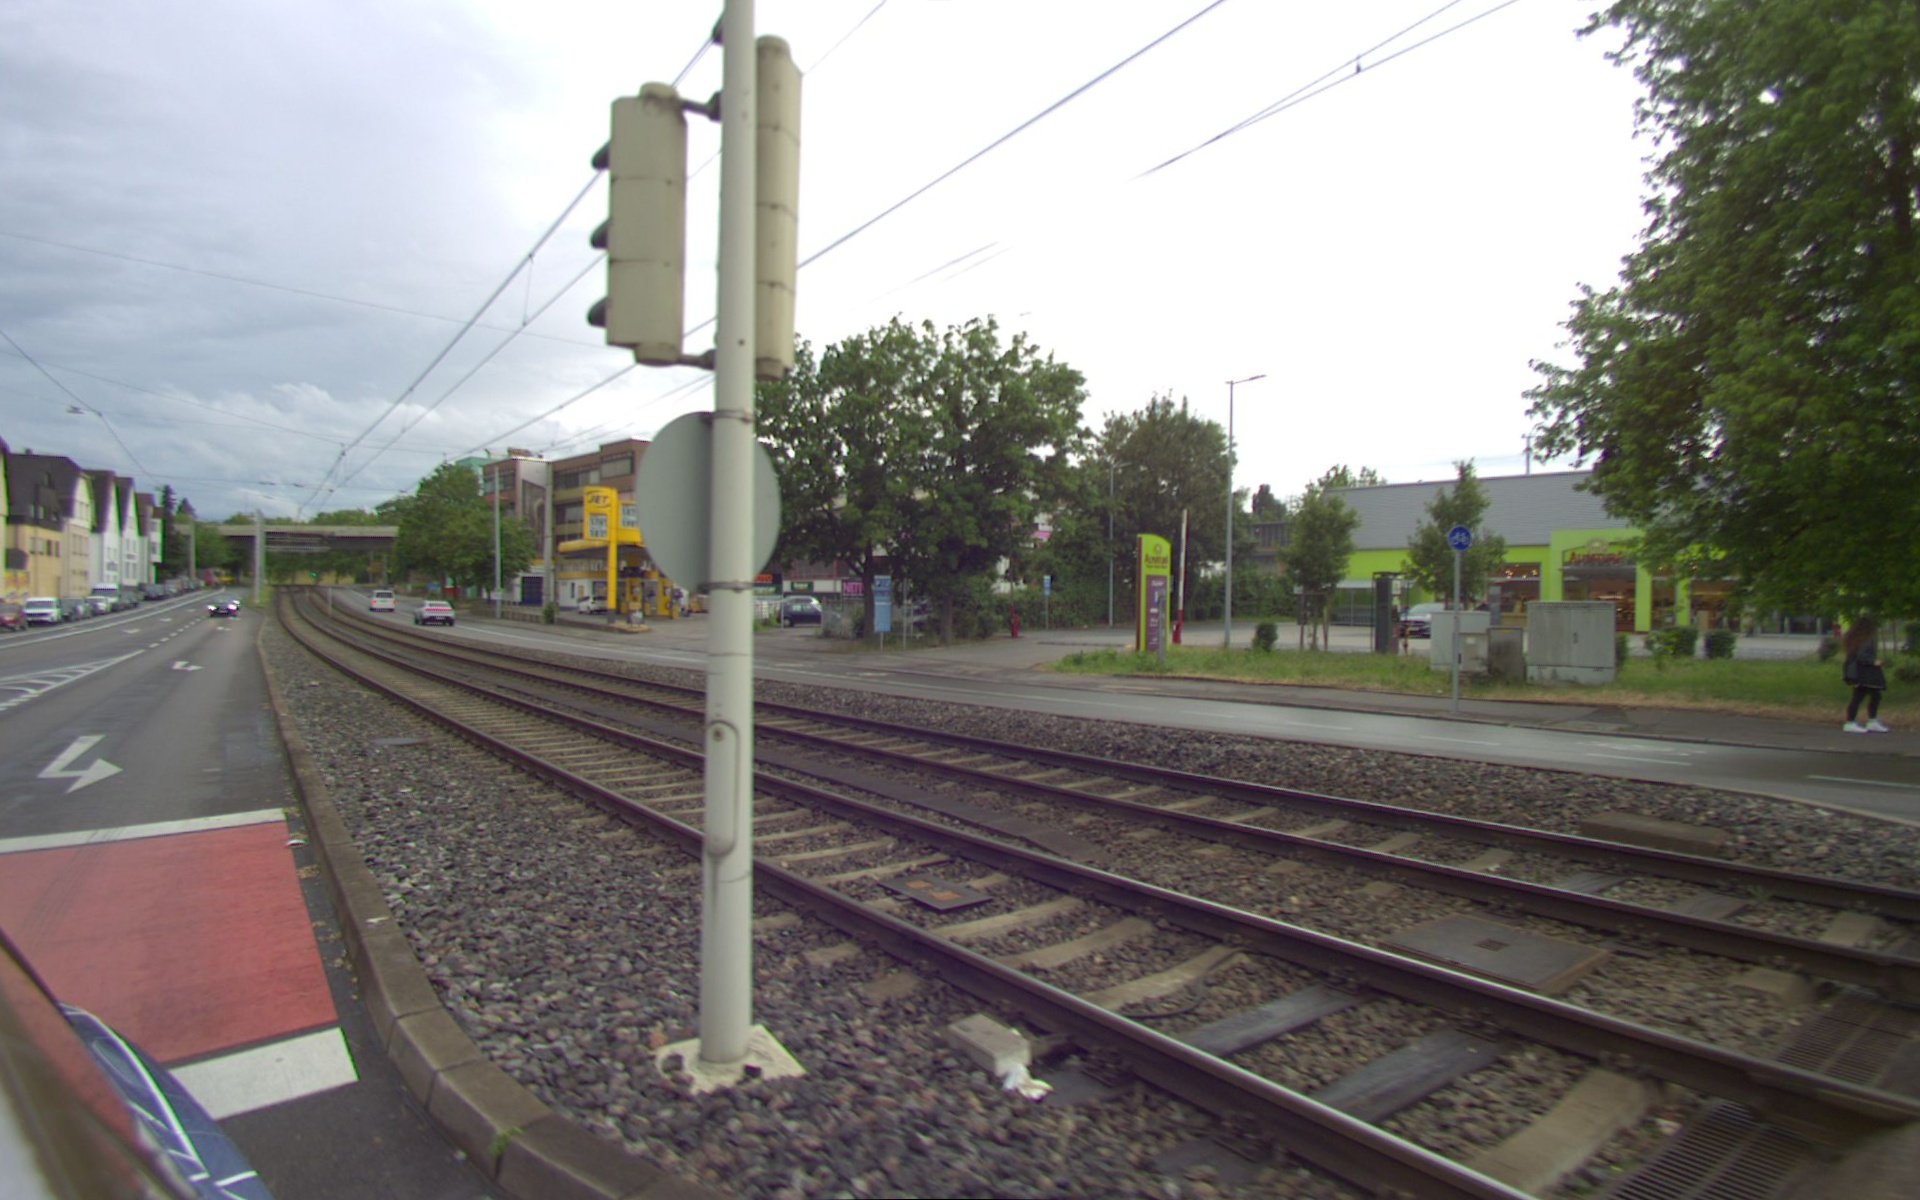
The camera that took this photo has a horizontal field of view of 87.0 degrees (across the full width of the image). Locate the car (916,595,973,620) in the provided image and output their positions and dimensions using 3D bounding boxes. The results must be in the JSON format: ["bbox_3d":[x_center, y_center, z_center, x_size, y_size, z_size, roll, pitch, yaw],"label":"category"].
[{"bbox_3d":[-1.141,0.584,74.317,1.853,1.662,4.039,0,-2,45],"label":"car"}]

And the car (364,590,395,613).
[{"bbox_3d":[-55.143,0.162,96.093,1.967,2.029,5.072,3,-2,-36],"label":"car"}]

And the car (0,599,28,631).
[{"bbox_3d":[-52.443,0.804,55.174,1.812,1.640,4.110,-1,1,-35],"label":"car"}]

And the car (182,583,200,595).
[{"bbox_3d":[-110.486,-1.560,145.381,1.699,1.559,4.213,-1,2,-32],"label":"car"}]

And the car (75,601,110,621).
[{"bbox_3d":[-69.770,0.882,81.447,1.579,1.475,4.212,-1,2,-33],"label":"car"}]

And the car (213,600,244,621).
[{"bbox_3d":[-55.604,0.765,76.972,1.858,1.435,4.211,-1,2,-35],"label":"car"}]

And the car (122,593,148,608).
[{"bbox_3d":[-79.657,0.019,97.736,1.699,1.355,4.211,-1,2,-35],"label":"car"}]

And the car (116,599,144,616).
[{"bbox_3d":[-75.923,0.686,92.632,1.699,1.355,4.095,-1,2,-35],"label":"car"}]

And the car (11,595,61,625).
[{"bbox_3d":[-58.013,0.604,63.604,1.823,1.770,4.532,-1,1,-36],"label":"car"}]

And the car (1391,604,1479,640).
[{"bbox_3d":[19.223,0.861,40.904,4.313,1.355,1.777,0,0,-43],"label":"car"}]

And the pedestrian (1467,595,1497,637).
[{"bbox_3d":[20.751,0.618,40.246,0.791,1.609,0.761,-1,2,-35],"label":"pedestrian"}]

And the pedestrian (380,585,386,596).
[{"bbox_3d":[-85.410,-1.380,149.844,0.735,1.657,1.024,1,0,-34],"label":"pedestrian"}]

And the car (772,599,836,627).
[{"bbox_3d":[-9.305,0.779,60.429,3.552,1.600,1.702,0,2,2],"label":"car"}]

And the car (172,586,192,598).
[{"bbox_3d":[-105.053,-1.127,136.649,1.699,1.559,4.213,-1,2,-32],"label":"car"}]

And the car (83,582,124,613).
[{"bbox_3d":[-72.917,-0.274,86.196,2.012,2.517,5.937,-1,2,-34],"label":"car"}]

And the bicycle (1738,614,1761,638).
[{"bbox_3d":[33.628,1.104,43.090,1.591,0.989,0.534,0,-1,-44],"label":"bicycle"}]

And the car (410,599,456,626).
[{"bbox_3d":[-34.967,0.811,67.144,1.967,1.662,4.771,3,-2,-36],"label":"car"}]

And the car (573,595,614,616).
[{"bbox_3d":[-27.592,0.383,76.090,1.747,1.426,4.084,-1,2,-38],"label":"car"}]

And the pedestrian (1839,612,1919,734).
[{"bbox_3d":[12.332,0.951,13.583,0.583,1.543,0.670,-1,2,-37],"label":"pedestrian"}]

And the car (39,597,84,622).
[{"bbox_3d":[-60.803,0.631,68.524,1.664,1.523,4.148,-1,1,-33],"label":"car"}]

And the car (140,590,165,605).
[{"bbox_3d":[-90.021,-0.305,112.814,1.699,1.559,4.213,-1,2,-32],"label":"car"}]

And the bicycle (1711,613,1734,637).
[{"bbox_3d":[32.989,1.084,43.792,1.591,0.989,0.534,0,-1,-44],"label":"bicycle"}]
